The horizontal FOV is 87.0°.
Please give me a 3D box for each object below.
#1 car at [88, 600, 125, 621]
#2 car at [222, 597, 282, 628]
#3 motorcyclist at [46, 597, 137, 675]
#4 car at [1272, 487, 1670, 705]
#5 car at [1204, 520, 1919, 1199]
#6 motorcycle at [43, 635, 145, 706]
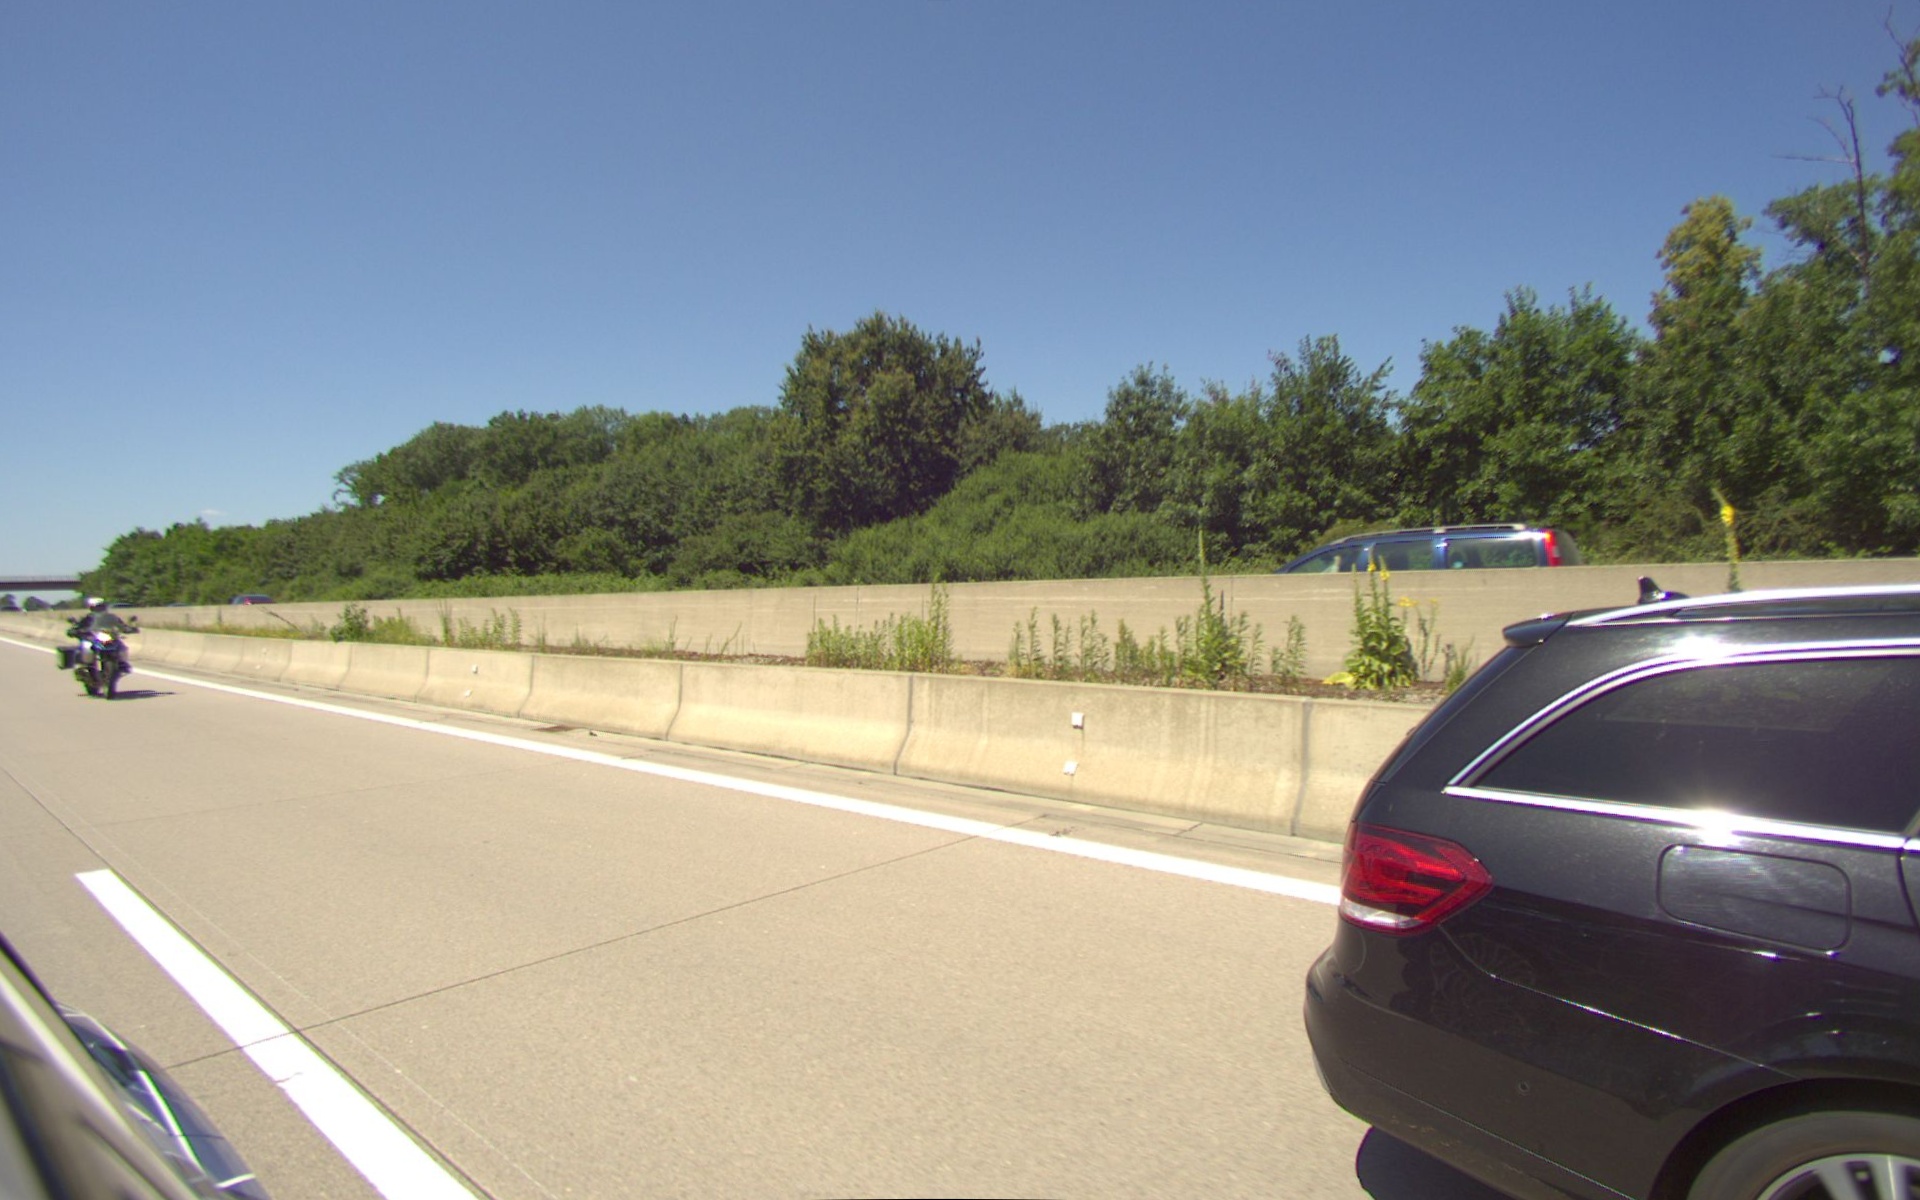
[{"bbox_3d":[-71.308,0.904,84.545,4.403,1.670,1.686,-2,-1,40],"label":"car"},{"bbox_3d":[-40.364,0.721,57.682,4.215,1.683,1.781,-1,1,41],"label":"car"},{"bbox_3d":[-14.695,0.594,17.124,0.911,1.218,1.014,-2,1,42],"label":"motorcyclist"},{"bbox_3d":[5.552,-0.014,11.216,3.650,2.029,1.619,-1,-1,41],"label":"car"},{"bbox_3d":[3.277,0.585,1.186,5.602,1.484,1.871,-2,-2,42],"label":"car"},{"bbox_3d":[-14.763,1.158,17.222,2.412,1.056,1.010,-2,1,43],"label":"motorcycle"}]
